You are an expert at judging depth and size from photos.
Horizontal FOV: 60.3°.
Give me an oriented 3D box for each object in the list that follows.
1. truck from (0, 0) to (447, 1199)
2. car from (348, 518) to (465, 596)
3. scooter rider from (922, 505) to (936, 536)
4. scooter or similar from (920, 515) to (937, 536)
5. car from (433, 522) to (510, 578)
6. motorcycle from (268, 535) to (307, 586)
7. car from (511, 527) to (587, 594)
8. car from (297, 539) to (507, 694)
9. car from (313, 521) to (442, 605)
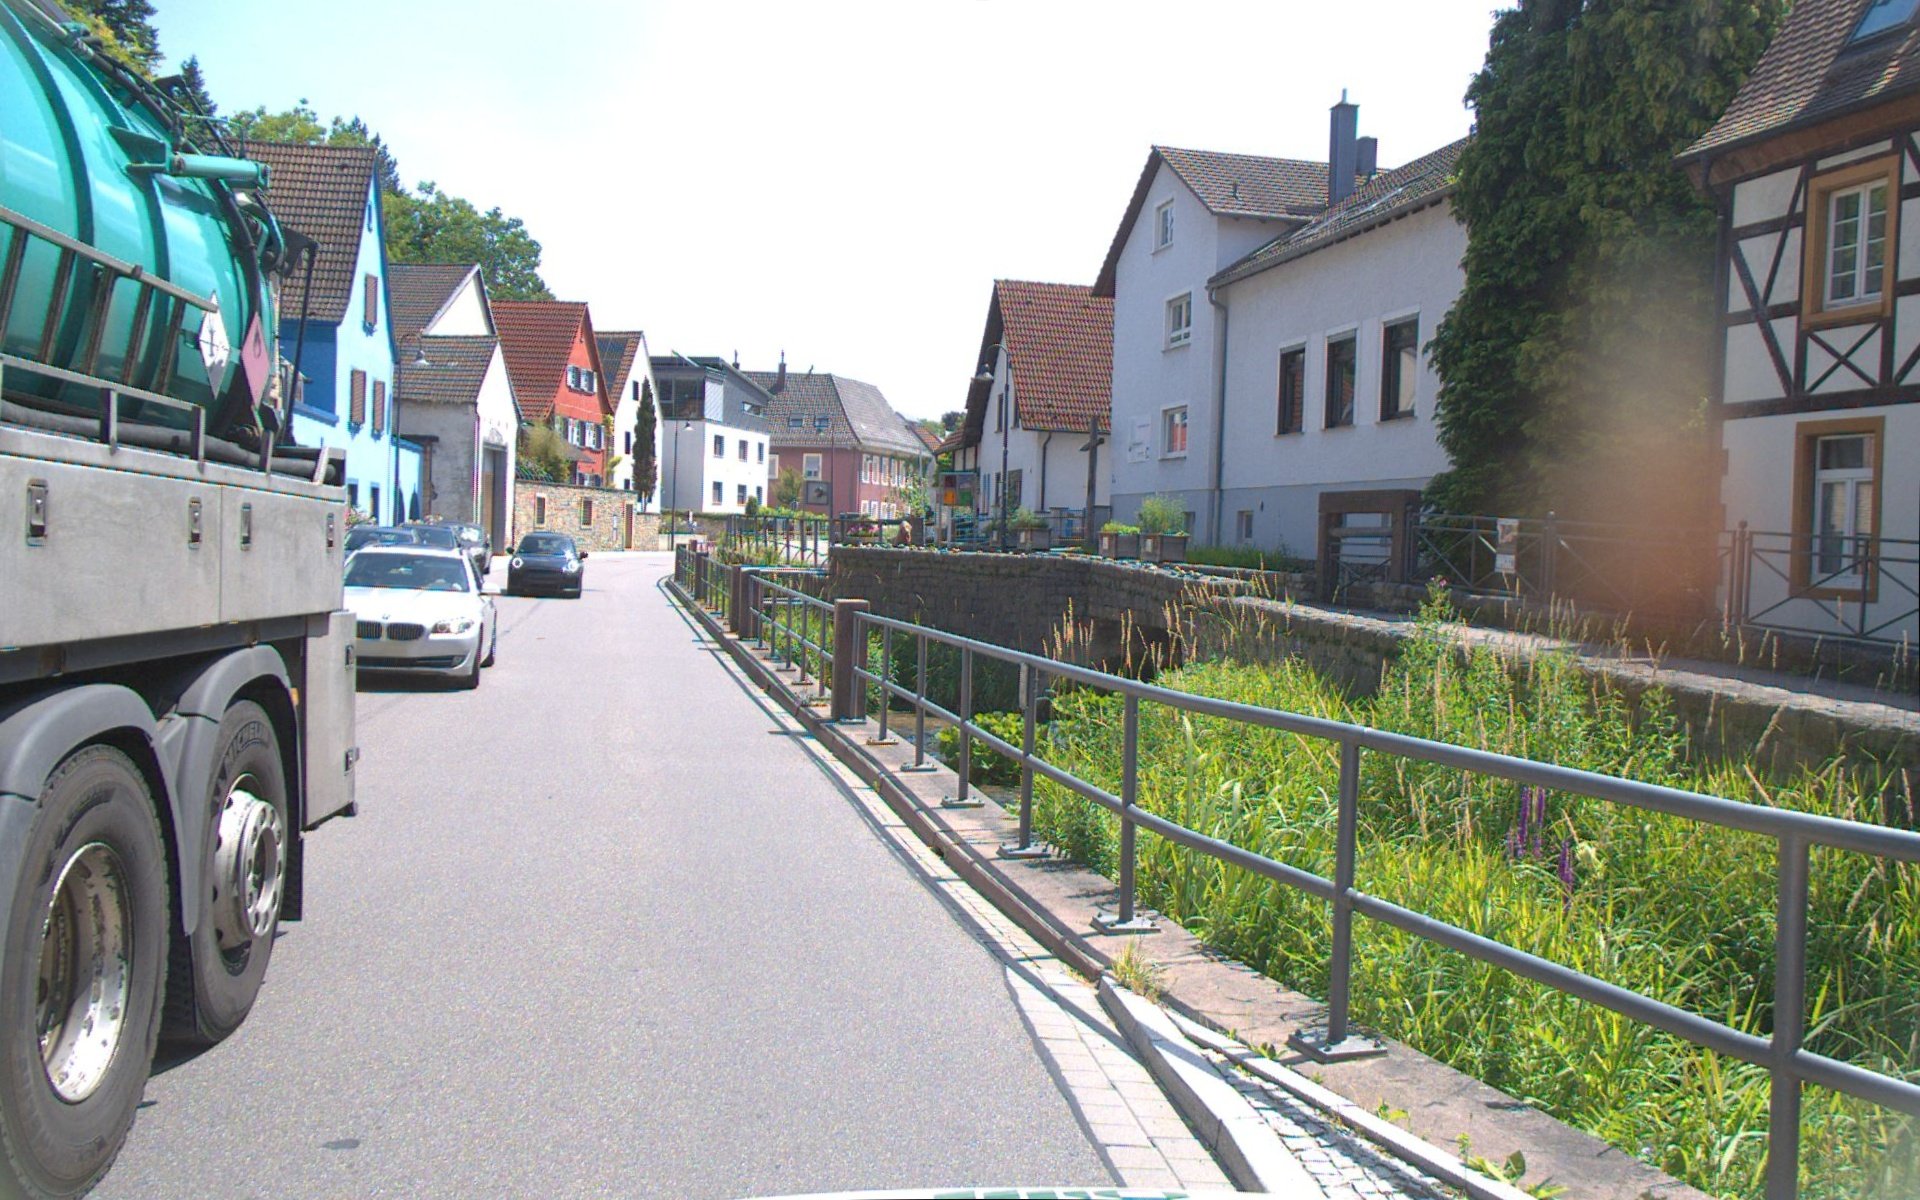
[{"bbox_3d":[-3.063,-0.507,3.157,2.366,3.721,9.552,0,1,-8],"label":"truck"},{"bbox_3d":[-12.644,-1.040,38.017,1.852,1.488,4.657,5,2,-11],"label":"car"},{"bbox_3d":[-1.808,-4.586,95.727,0.630,1.761,0.553,2,1,-12],"label":"scooter rider"},{"bbox_3d":[-1.813,-4.303,95.756,0.630,1.162,1.807,0,2,-12],"label":"scooter or similar"},{"bbox_3d":[-14.228,-1.490,48.345,1.685,1.556,3.849,1,2,-10],"label":"car"},{"bbox_3d":[-14.486,-0.860,35.646,0.411,1.018,1.852,6,1,-14],"label":"motorcycle"},{"bbox_3d":[-9.874,-0.958,39.865,1.670,1.491,4.420,0,2,-13],"label":"car"},{"bbox_3d":[-6.287,0.097,19.108,1.863,1.526,4.598,2,2,-14],"label":"car"},{"bbox_3d":[-11.638,-0.770,33.312,1.923,1.491,4.531,2,1,-14],"label":"car"}]
